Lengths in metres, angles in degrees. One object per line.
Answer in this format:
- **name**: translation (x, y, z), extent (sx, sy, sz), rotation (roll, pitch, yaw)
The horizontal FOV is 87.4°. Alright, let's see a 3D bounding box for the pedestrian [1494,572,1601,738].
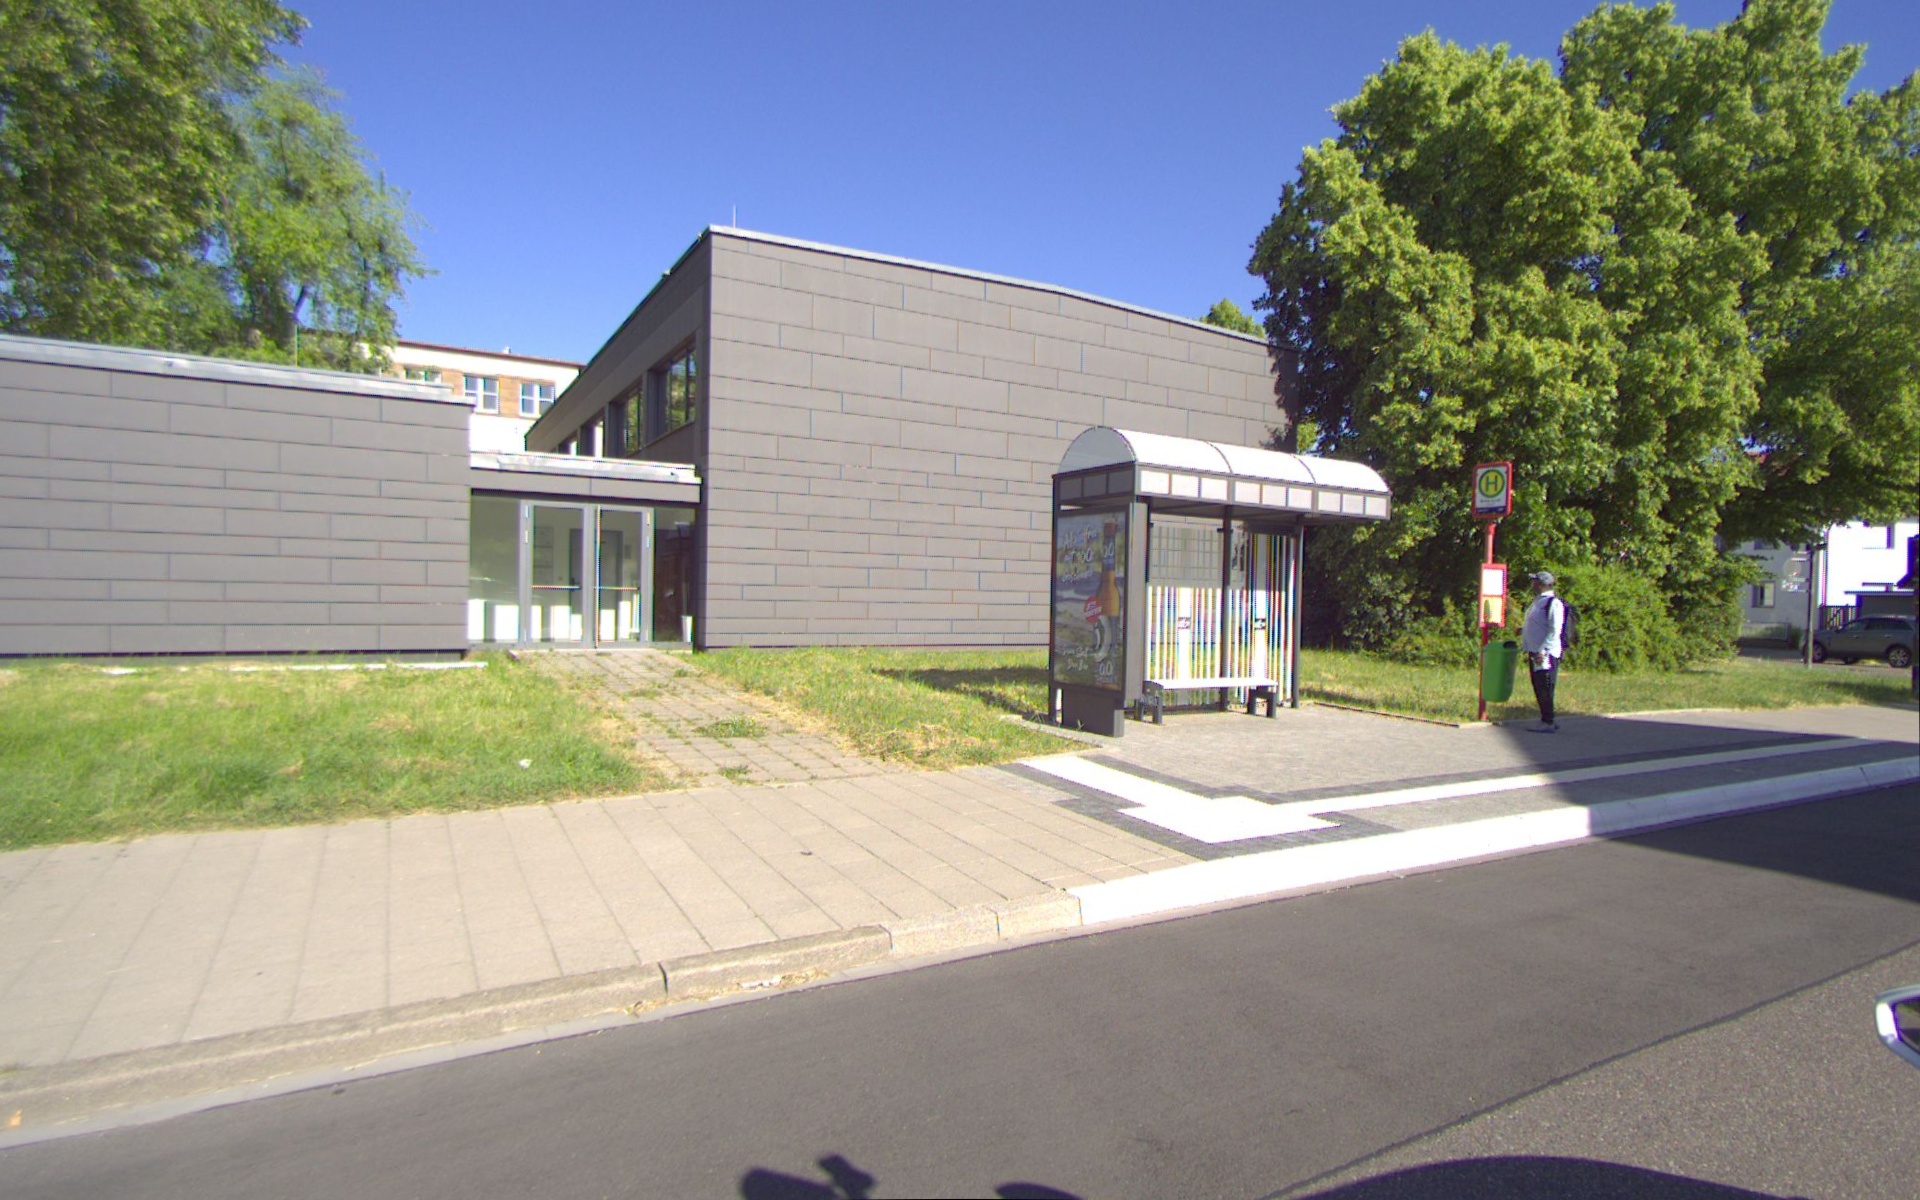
- **pedestrian**: translation (6.718, 0.601, 11.530), extent (0.755, 1.827, 0.718), rotation (2, 2, 5)

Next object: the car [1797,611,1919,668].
- **car**: translation (31.452, 1.324, 34.171), extent (1.913, 1.748, 4.221), rotation (2, 0, -15)
